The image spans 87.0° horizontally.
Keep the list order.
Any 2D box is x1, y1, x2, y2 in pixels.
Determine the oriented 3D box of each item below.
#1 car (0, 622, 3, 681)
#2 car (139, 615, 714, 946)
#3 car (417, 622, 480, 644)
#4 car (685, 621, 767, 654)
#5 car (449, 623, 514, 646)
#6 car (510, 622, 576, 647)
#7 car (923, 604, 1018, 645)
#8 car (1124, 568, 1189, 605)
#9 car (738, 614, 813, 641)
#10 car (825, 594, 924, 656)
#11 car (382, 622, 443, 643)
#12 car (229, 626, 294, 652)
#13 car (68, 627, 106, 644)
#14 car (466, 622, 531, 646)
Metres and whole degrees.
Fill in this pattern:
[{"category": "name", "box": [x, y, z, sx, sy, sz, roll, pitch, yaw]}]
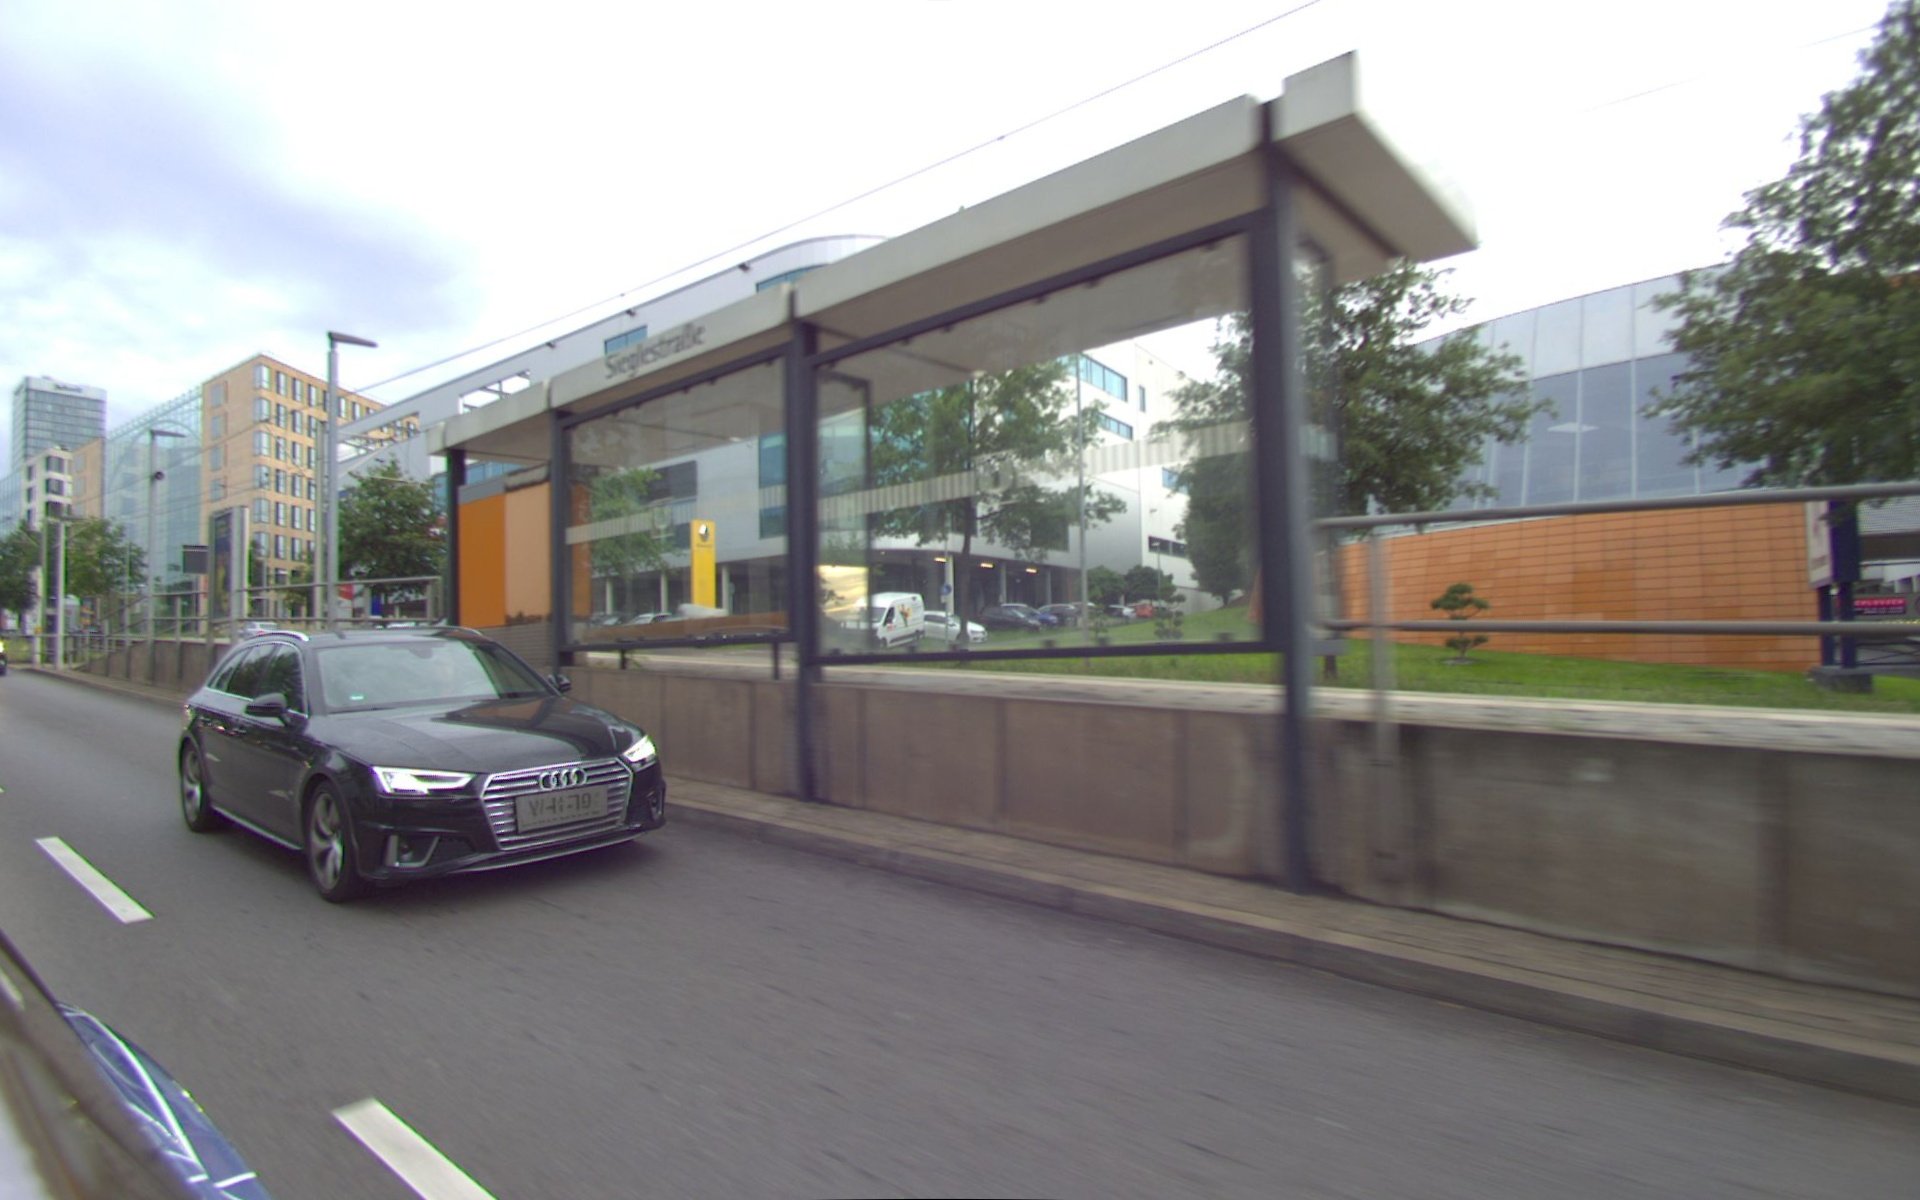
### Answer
[{"category": "car", "box": [-26.566, 1.368, 26.547, 3.998, 1.513, 1.775, -2, -1, 42]}, {"category": "car", "box": [-3.816, 0.863, 6.748, 4.826, 1.445, 1.772, -2, -1, 41]}, {"category": "car", "box": [-36.963, 2.367, 73.194, 1.812, 1.502, 3.814, -1, -1, 22]}, {"category": "car", "box": [-11.949, 1.875, 51.866, 1.891, 1.519, 3.956, -1, 0, 32]}, {"category": "car", "box": [-32.876, 2.348, 69.622, 1.812, 1.502, 3.814, -1, -1, 22]}, {"category": "car", "box": [-26.683, 2.197, 64.867, 1.812, 1.502, 3.814, -1, -1, 22]}, {"category": "car", "box": [0.610, 1.215, 52.142, 2.273, 1.940, 5.421, -1, 0, 34]}, {"category": "car", "box": [14.337, -0.970, 73.679, 2.741, 2.513, 5.421, -1, 0, 34]}, {"category": "car", "box": [-10.561, 1.584, 57.977, 3.946, 1.480, 1.770, -1, -1, 2]}, {"category": "car", "box": [-3.836, 1.086, 46.741, 2.265, 2.648, 5.442, -1, 0, 23]}, {"category": "car", "box": [-41.307, 2.432, 76.474, 1.812, 1.502, 3.814, -1, -1, 22]}, {"category": "car", "box": [-41.013, 2.251, 59.361, 4.871, 1.399, 1.973, -1, 0, 41]}, {"category": "car", "box": [-81.037, 3.266, 93.960, 4.871, 1.447, 1.973, -1, 0, 41]}, {"category": "car", "box": [-30.811, 2.245, 67.663, 1.812, 1.502, 3.814, -1, -1, 22]}]
